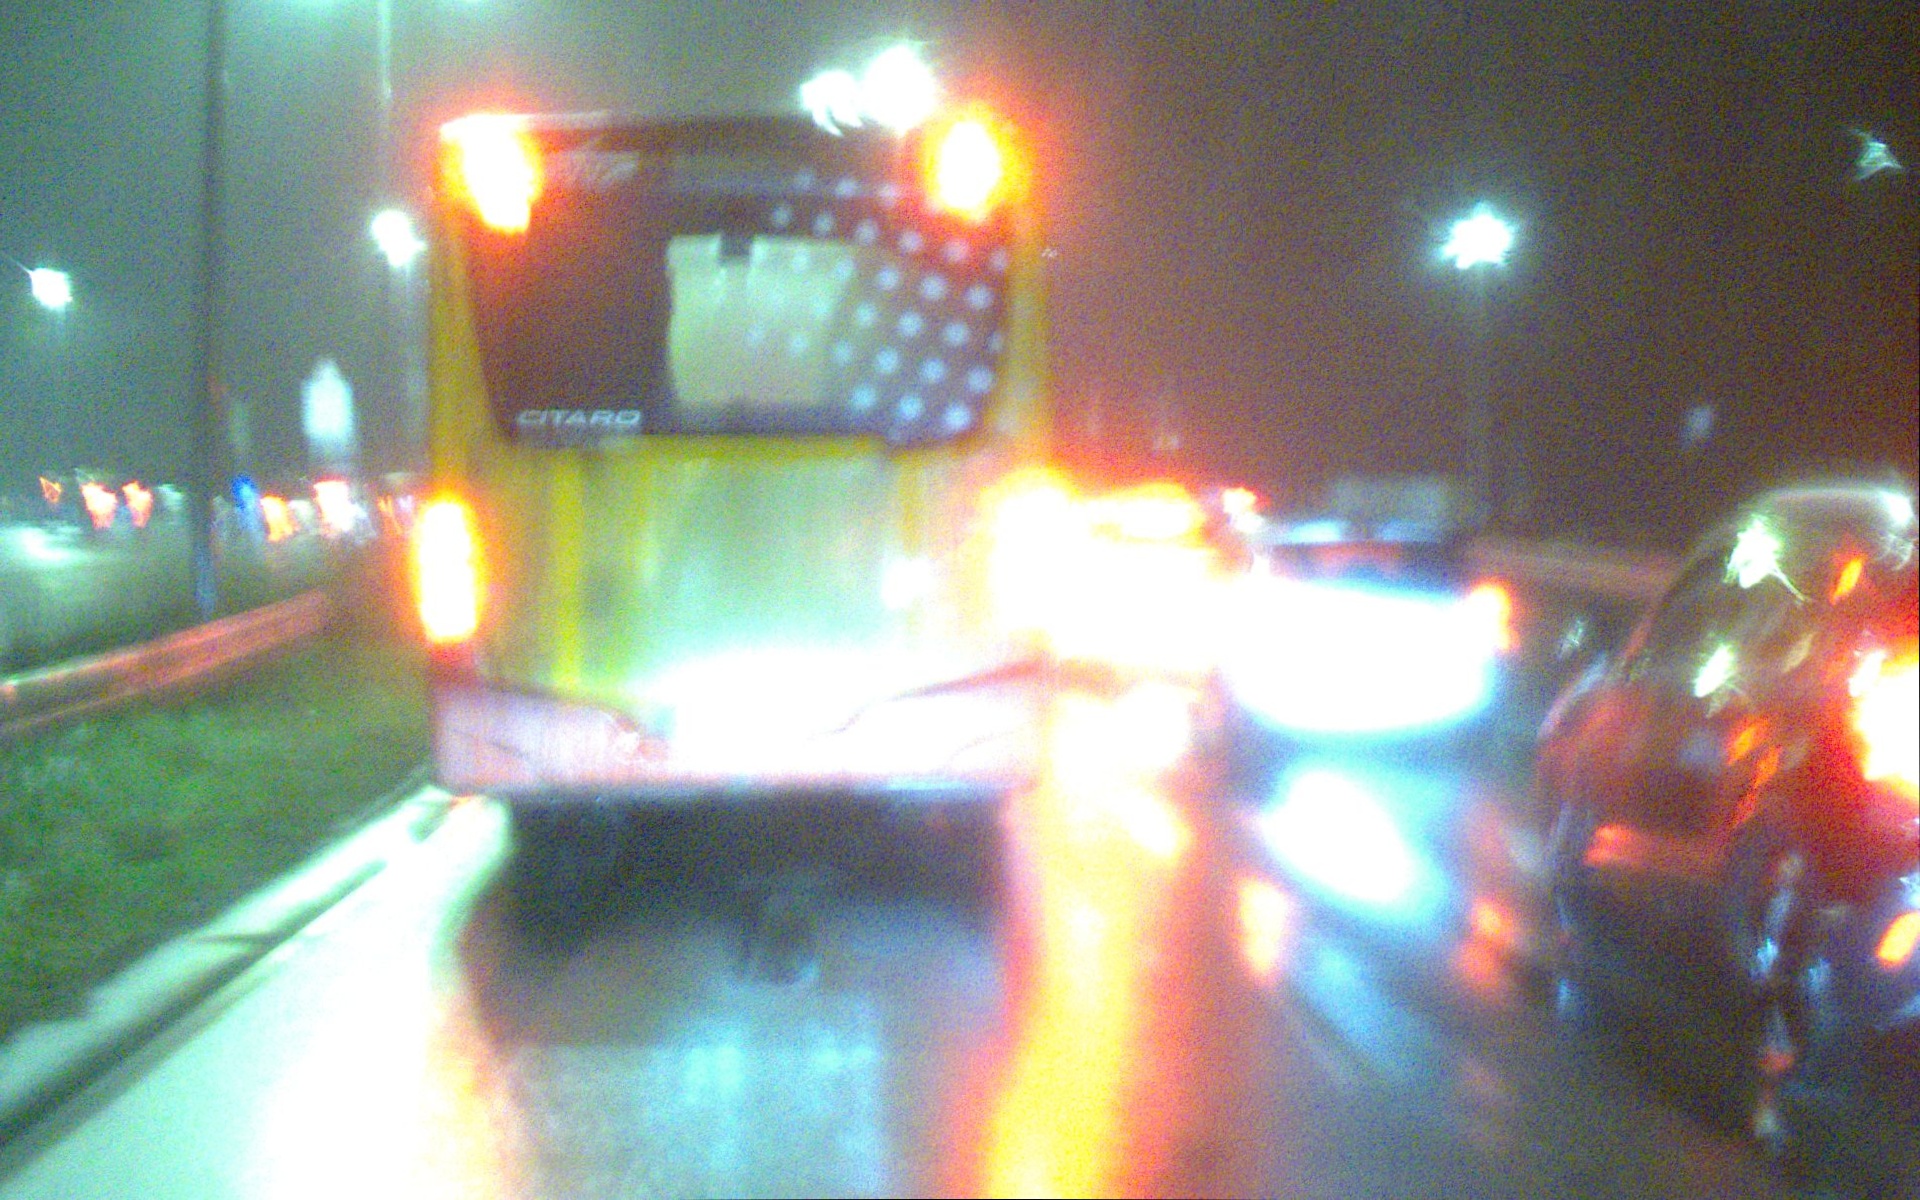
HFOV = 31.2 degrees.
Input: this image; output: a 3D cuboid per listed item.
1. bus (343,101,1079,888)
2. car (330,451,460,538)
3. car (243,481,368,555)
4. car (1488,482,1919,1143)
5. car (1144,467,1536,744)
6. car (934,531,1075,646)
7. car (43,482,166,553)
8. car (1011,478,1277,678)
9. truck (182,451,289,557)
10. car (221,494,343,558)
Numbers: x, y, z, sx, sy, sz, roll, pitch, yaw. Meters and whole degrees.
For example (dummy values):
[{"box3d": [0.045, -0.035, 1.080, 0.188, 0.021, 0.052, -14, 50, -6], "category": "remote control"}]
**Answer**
[{"box3d": [-1.146, -0.508, 17.613, 2.815, 3.013, 8.688, 0, 1, -2], "category": "bus"}, {"box3d": [-13.665, -2.523, 82.991, 1.993, 2.007, 4.001, 1, 1, -26], "category": "car"}, {"box3d": [-18.310, -2.289, 96.064, 1.994, 2.006, 4.000, -2, 2, -34], "category": "car"}, {"box3d": [2.832, 0.462, 10.039, 1.739, 1.559, 3.777, 1, 1, -4], "category": "car"}, {"box3d": [2.316, -0.020, 21.881, 1.819, 1.585, 3.777, -1, 2, -4], "category": "car"}, {"box3d": [0.593, -0.191, 49.114, 1.779, 1.538, 3.875, 1, 1, -3], "category": "car"}, {"box3d": [-25.176, -2.423, 101.096, 2.212, 2.007, 3.999, -2, 2, -35], "category": "car"}, {"box3d": [1.508, -0.228, 29.491, 1.819, 1.585, 3.777, -1, 2, -4], "category": "car"}, {"box3d": [-18.026, -2.425, 85.393, 1.855, 2.384, 4.781, -2, 5, -20], "category": "truck"}, {"box3d": [-17.927, -1.959, 90.830, 1.751, 1.625, 3.622, 0, 1, -37], "category": "car"}]
